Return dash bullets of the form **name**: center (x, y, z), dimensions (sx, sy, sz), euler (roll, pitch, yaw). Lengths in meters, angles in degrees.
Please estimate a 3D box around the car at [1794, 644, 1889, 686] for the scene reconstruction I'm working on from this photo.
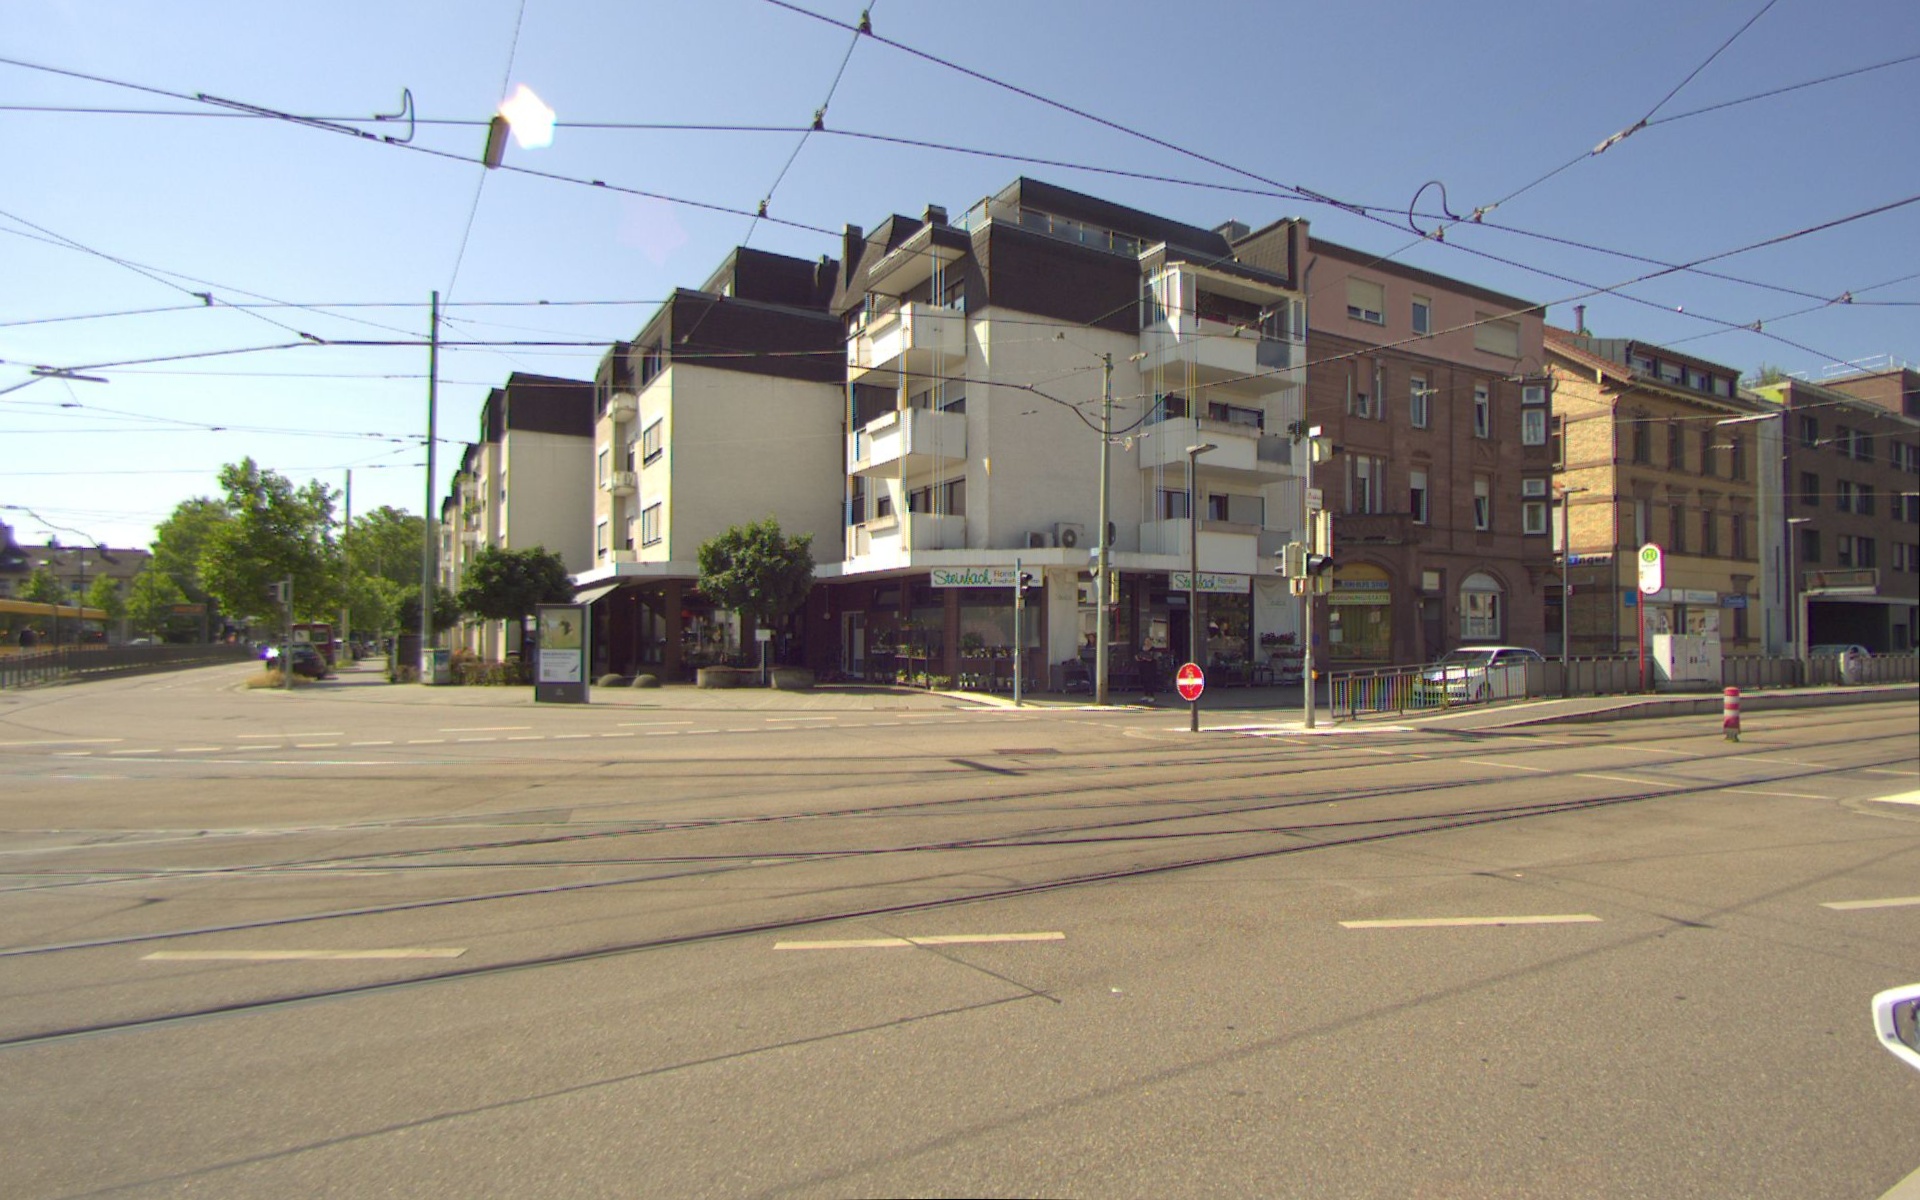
- **car**: center (32.180, 2.341, 36.658), dimensions (3.696, 1.478, 1.565), euler (1, -3, -32)

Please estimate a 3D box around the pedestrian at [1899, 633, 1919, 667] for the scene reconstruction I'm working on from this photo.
- **pedestrian**: center (51.718, 2.730, 54.593), dimensions (0.953, 1.814, 0.721), euler (1, -2, -30)

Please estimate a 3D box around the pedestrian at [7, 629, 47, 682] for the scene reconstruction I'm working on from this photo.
- **pedestrian**: center (-32.086, 1.914, 34.556), dimensions (0.753, 1.783, 0.807), euler (1, -2, -25)

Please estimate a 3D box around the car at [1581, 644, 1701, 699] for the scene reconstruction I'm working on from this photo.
- **car**: center (19.633, 2.016, 28.918), dimensions (3.774, 1.478, 1.563), euler (2, -3, -34)

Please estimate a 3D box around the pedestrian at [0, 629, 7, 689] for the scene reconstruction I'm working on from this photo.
- **pedestrian**: center (-30.486, 1.832, 31.018), dimensions (1.108, 1.860, 1.430), euler (1, -3, -26)

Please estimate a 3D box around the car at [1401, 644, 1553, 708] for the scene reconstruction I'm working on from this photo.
- **car**: center (12.948, 1.857, 25.102), dimensions (3.919, 1.450, 1.617), euler (2, -2, -32)

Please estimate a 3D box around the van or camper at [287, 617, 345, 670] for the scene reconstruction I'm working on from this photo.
- **van or camper**: center (-34.006, 2.310, 53.188), dimensions (2.349, 2.659, 4.852), euler (1, -3, -31)

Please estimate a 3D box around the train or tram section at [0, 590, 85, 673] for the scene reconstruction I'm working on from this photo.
- **train or tram section**: center (-47.475, 1.655, 50.286), dimensions (2.736, 3.706, 13.801), euler (1, -3, -30)

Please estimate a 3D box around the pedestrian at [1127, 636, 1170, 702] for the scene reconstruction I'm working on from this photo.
- **pedestrian**: center (4.849, 1.765, 25.818), dimensions (0.867, 1.669, 0.678), euler (-2, -3, 38)

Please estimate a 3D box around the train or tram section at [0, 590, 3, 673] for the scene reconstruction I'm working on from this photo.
- **train or tram section**: center (-40.683, 1.140, 38.298), dimensions (2.736, 3.706, 13.801), euler (1, -3, -30)

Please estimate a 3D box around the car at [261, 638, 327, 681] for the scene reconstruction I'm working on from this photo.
- **car**: center (-25.056, 2.211, 37.910), dimensions (1.807, 1.520, 4.153), euler (1, -3, -30)

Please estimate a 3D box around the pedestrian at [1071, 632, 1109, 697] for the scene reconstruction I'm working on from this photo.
- **pedestrian**: center (3.419, 1.689, 26.430), dimensions (0.724, 1.669, 0.675), euler (1, -2, -31)
